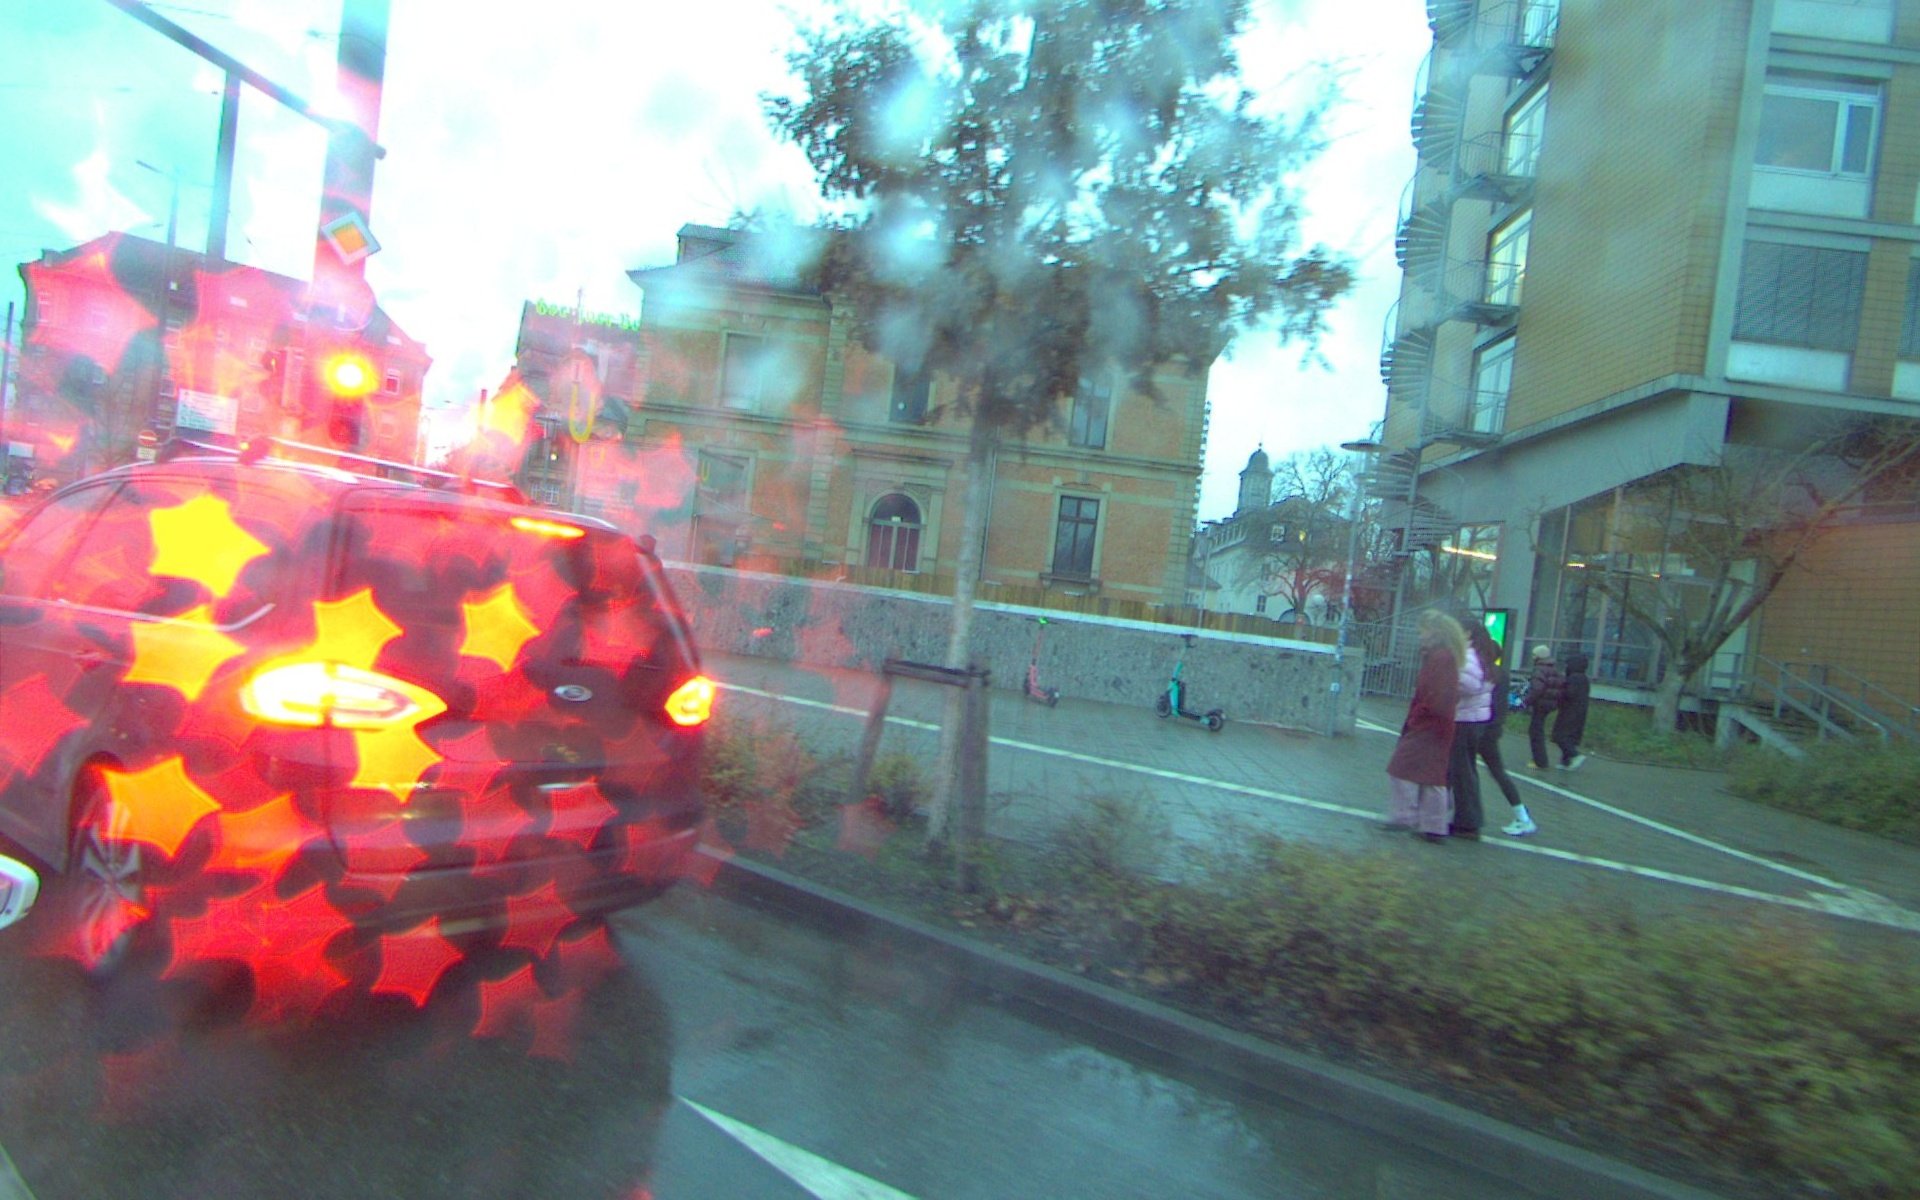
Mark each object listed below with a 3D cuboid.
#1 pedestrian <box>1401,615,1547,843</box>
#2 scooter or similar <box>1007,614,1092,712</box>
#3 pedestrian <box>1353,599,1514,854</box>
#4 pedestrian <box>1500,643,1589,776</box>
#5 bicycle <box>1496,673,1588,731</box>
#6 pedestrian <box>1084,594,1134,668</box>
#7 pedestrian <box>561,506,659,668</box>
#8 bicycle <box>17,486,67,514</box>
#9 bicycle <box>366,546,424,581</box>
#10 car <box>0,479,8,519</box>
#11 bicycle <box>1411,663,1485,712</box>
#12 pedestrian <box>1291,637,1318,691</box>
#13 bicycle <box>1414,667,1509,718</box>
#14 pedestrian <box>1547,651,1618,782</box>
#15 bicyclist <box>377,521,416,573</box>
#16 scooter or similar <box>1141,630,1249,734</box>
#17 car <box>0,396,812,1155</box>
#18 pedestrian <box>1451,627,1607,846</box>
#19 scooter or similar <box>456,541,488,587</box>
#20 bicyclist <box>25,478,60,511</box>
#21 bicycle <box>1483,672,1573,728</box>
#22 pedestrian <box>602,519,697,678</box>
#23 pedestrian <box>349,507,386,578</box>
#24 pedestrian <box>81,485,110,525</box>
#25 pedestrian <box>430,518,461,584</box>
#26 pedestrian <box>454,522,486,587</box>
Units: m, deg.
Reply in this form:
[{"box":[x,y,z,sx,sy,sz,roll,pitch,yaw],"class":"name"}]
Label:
[{"box":[4.151,1.023,8.138,0.662,1.711,0.606,4,4,-33],"class":"pedestrian"},{"box":[1.261,0.880,14.403,0.507,1.229,1.375,6,1,-23],"class":"scooter or similar"},{"box":[3.613,0.937,7.709,0.579,1.805,0.762,4,2,-33],"class":"pedestrian"},{"box":[8.598,1.584,14.833,0.735,1.814,0.854,7,1,14],"class":"pedestrian"},{"box":[13.703,2.386,23.699,1.761,1.116,0.401,7,1,7],"class":"bicycle"},{"box":[3.749,0.767,25.355,0.901,1.726,0.801,6,1,-4],"class":"pedestrian"},{"box":[-4.565,-0.174,13.086,0.802,1.954,0.753,8,2,-34],"class":"pedestrian"},{"box":[-56.043,-6.101,61.411,2.169,1.394,0.697,7,1,-6],"class":"bicycle"},{"box":[-18.675,-1.190,33.290,0.683,0.993,2.014,7,0,1],"class":"bicycle"},{"box":[-42.639,-4.516,41.311,4.766,1.678,1.725,7,0,-33],"class":"car"},{"box":[13.246,2.362,27.312,1.764,1.116,0.390,7,1,-7],"class":"bicycle"},{"box":[11.405,2.109,33.324,0.651,1.678,0.789,7,1,20],"class":"pedestrian"},{"box":[13.087,2.407,26.299,2.021,1.004,0.708,7,1,7],"class":"bicycle"},{"box":[9.103,1.682,14.730,0.549,1.814,0.584,7,1,14],"class":"pedestrian"},{"box":[-18.603,-1.728,33.206,0.683,1.595,0.778,6,1,1],"class":"bicyclist"},{"box":[3.208,1.104,13.826,0.509,1.229,1.371,6,1,-31],"class":"scooter or similar"},{"box":[-2.955,0.267,4.356,4.353,1.822,1.779,8,0,34],"class":"car"},{"box":[4.843,1.137,8.583,0.713,1.709,0.753,6,1,-34],"class":"pedestrian"},{"box":[-15.334,-1.132,31.604,0.671,1.334,0.819,6,1,-33],"class":"scooter or similar"},{"box":[-56.009,-6.434,61.425,1.053,1.791,1.049,6,1,-5],"class":"bicyclist"},{"box":[13.737,2.412,24.345,1.761,1.116,0.442,7,1,7],"class":"bicycle"},{"box":[-4.281,-0.024,13.847,0.802,2.039,0.753,8,2,-34],"class":"pedestrian"},{"box":[-17.401,-1.678,29.553,0.669,1.975,0.673,6,1,-22],"class":"pedestrian"},{"box":[-47.436,-5.232,55.204,0.774,2.039,0.731,6,1,3],"class":"pedestrian"},{"box":[-16.291,-1.556,31.845,0.671,1.975,0.656,6,1,-33],"class":"pedestrian"},{"box":[-15.708,-1.462,32.219,0.671,1.975,0.656,6,1,-34],"class":"pedestrian"}]
